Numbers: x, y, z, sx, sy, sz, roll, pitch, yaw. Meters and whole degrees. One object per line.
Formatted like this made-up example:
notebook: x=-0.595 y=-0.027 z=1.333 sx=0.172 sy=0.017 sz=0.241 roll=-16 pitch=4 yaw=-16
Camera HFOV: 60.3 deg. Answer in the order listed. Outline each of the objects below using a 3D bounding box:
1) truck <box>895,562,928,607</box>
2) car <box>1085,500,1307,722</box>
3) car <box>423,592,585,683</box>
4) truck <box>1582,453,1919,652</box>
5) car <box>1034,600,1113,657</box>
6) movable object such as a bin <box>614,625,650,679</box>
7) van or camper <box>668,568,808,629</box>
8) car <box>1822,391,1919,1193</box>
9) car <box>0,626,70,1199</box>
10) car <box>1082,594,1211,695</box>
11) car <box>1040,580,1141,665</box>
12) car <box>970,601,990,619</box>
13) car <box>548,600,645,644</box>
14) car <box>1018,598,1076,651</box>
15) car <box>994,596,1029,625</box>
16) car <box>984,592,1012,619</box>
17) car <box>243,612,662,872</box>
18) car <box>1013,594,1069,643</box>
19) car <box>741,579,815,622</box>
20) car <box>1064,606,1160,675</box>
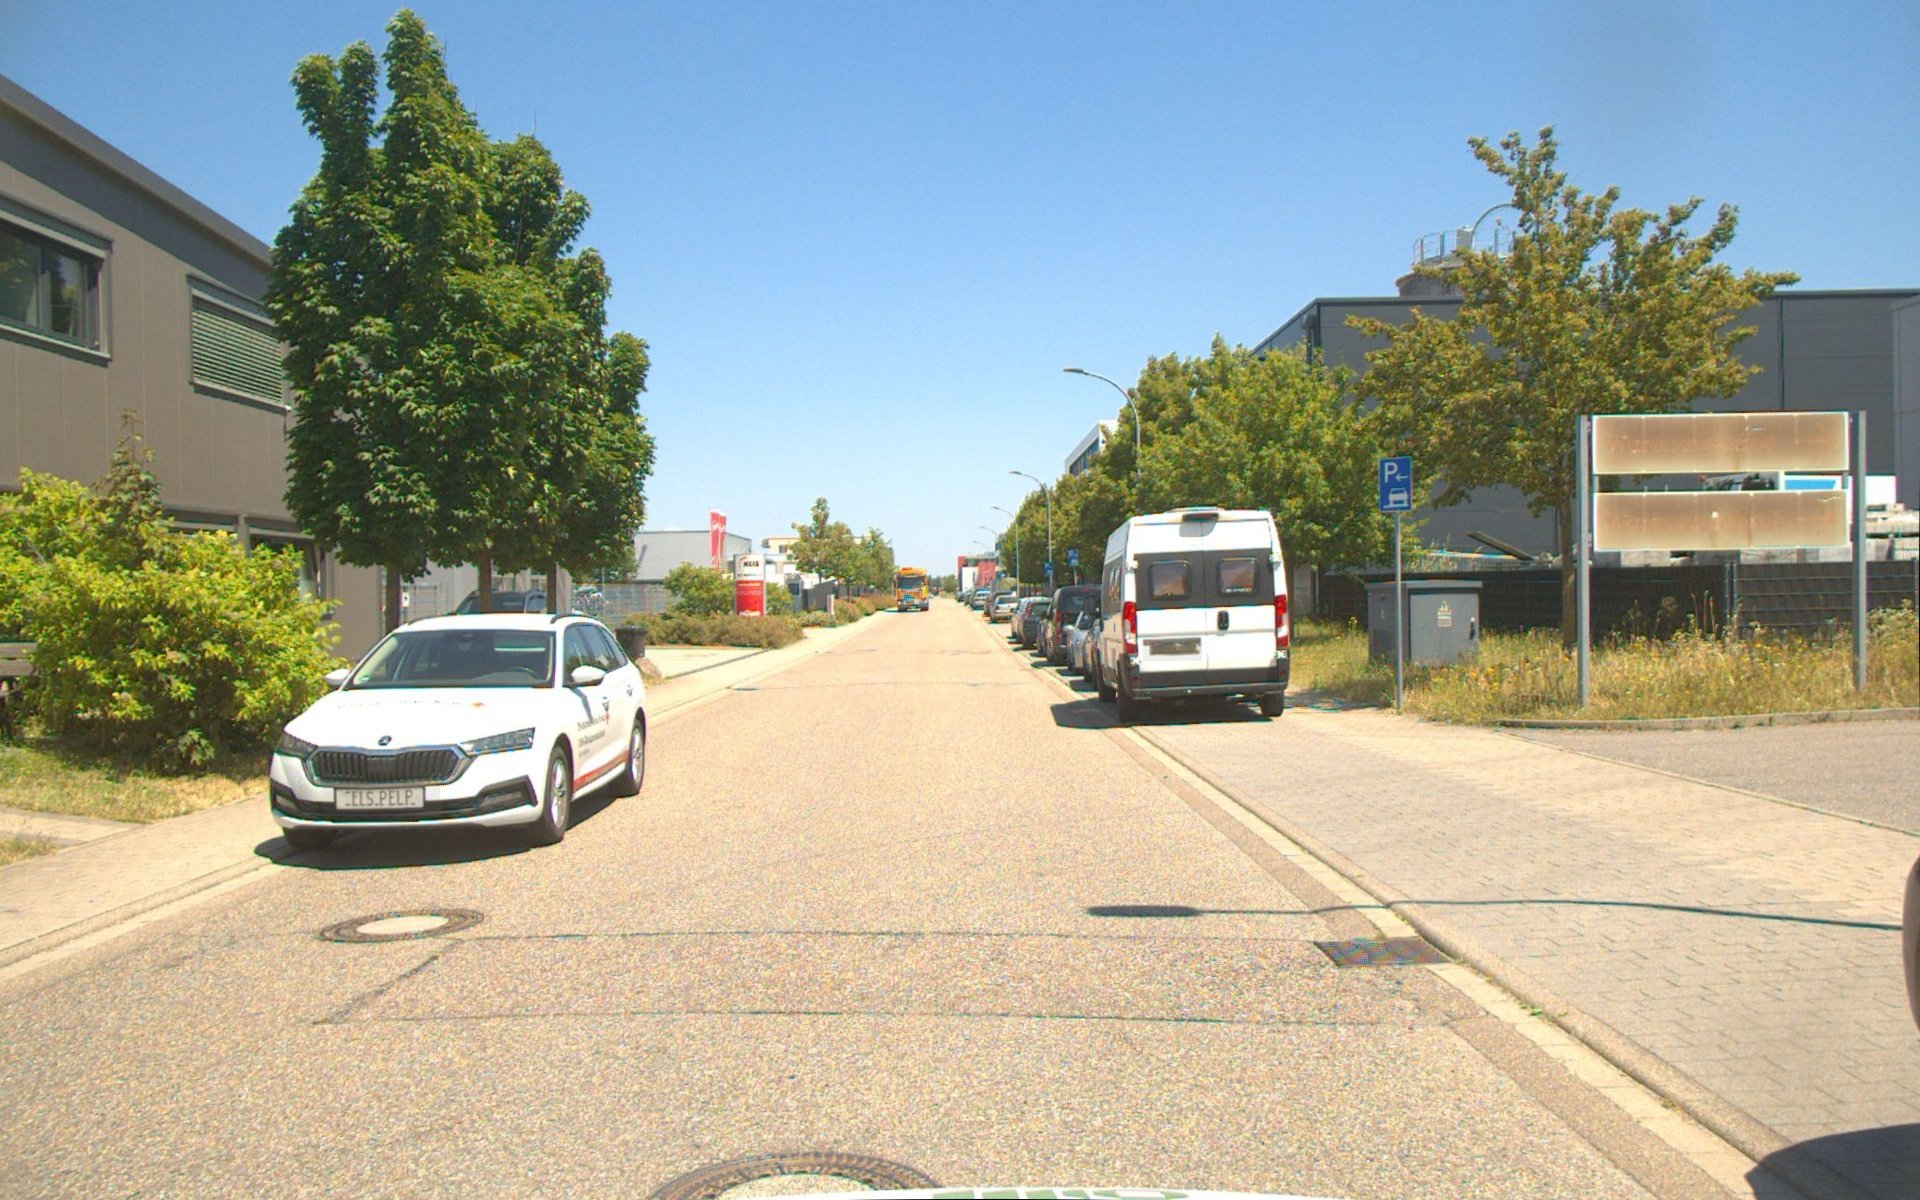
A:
truck: x=-3.972 y=-1.290 z=136.507 sx=2.399 sy=3.574 sz=8.271 roll=-2 pitch=1 yaw=-1
car: x=3.002 y=0.125 z=22.502 sx=2.220 sy=2.541 sz=6.153 roll=-2 pitch=0 yaw=1
car: x=-9.858 y=0.750 z=36.172 sx=1.952 sy=1.765 sz=4.915 roll=0 pitch=1 yaw=3
truck: x=18.647 y=-1.060 z=35.405 sx=9.800 sy=3.889 sz=3.029 roll=-2 pitch=0 yaw=-11
car: x=3.099 y=0.753 z=45.980 sx=1.813 sy=1.456 sz=4.712 roll=-2 pitch=0 yaw=0
movable object such as a bin: x=-6.715 y=1.059 z=33.878 sx=0.567 sy=1.084 sz=0.765 roll=1 pitch=0 yaw=-1
van or camper: x=-12.083 y=-0.098 z=90.446 sx=7.235 sy=3.090 sz=2.789 roll=-1 pitch=0 yaw=-2
car: x=3.257 y=0.431 z=1.729 sx=1.953 sy=1.917 sz=5.155 roll=-2 pitch=0 yaw=0
car: x=-2.538 y=0.817 z=0.855 sx=1.747 sy=1.447 sz=4.413 roll=-3 pitch=0 yaw=0
car: x=3.120 y=0.699 z=28.439 sx=1.791 sy=1.519 sz=4.479 roll=-2 pitch=0 yaw=1
car: x=3.052 y=0.509 z=39.482 sx=1.953 sy=1.857 sz=4.353 roll=-2 pitch=0 yaw=-1
car: x=1.657 y=0.797 z=135.783 sx=1.553 sy=1.434 sz=3.499 roll=-1 pitch=0 yaw=-1
car: x=-13.914 y=0.836 z=63.396 sx=3.433 sy=1.579 sz=1.556 roll=-1 pitch=0 yaw=-6
car: x=2.782 y=0.739 z=51.868 sx=1.673 sy=1.531 sz=4.708 roll=-2 pitch=0 yaw=4
car: x=2.760 y=0.548 z=88.752 sx=1.683 sy=1.475 sz=3.645 roll=-2 pitch=0 yaw=-1
car: x=2.429 y=0.338 z=106.662 sx=1.686 sy=1.724 sz=3.984 roll=-1 pitch=0 yaw=0
car: x=-3.398 y=0.854 z=12.002 sx=1.694 sy=1.484 sz=4.491 roll=-1 pitch=0 yaw=-1
car: x=2.796 y=0.609 z=57.750 sx=1.712 sy=1.589 sz=4.506 roll=-2 pitch=1 yaw=0
car: x=-11.731 y=-0.003 z=106.776 sx=4.622 sy=2.631 sz=1.998 roll=-1 pitch=0 yaw=-5
car: x=3.100 y=0.813 z=34.433 sx=1.676 sy=1.310 sz=4.115 roll=-2 pitch=-1 yaw=1
